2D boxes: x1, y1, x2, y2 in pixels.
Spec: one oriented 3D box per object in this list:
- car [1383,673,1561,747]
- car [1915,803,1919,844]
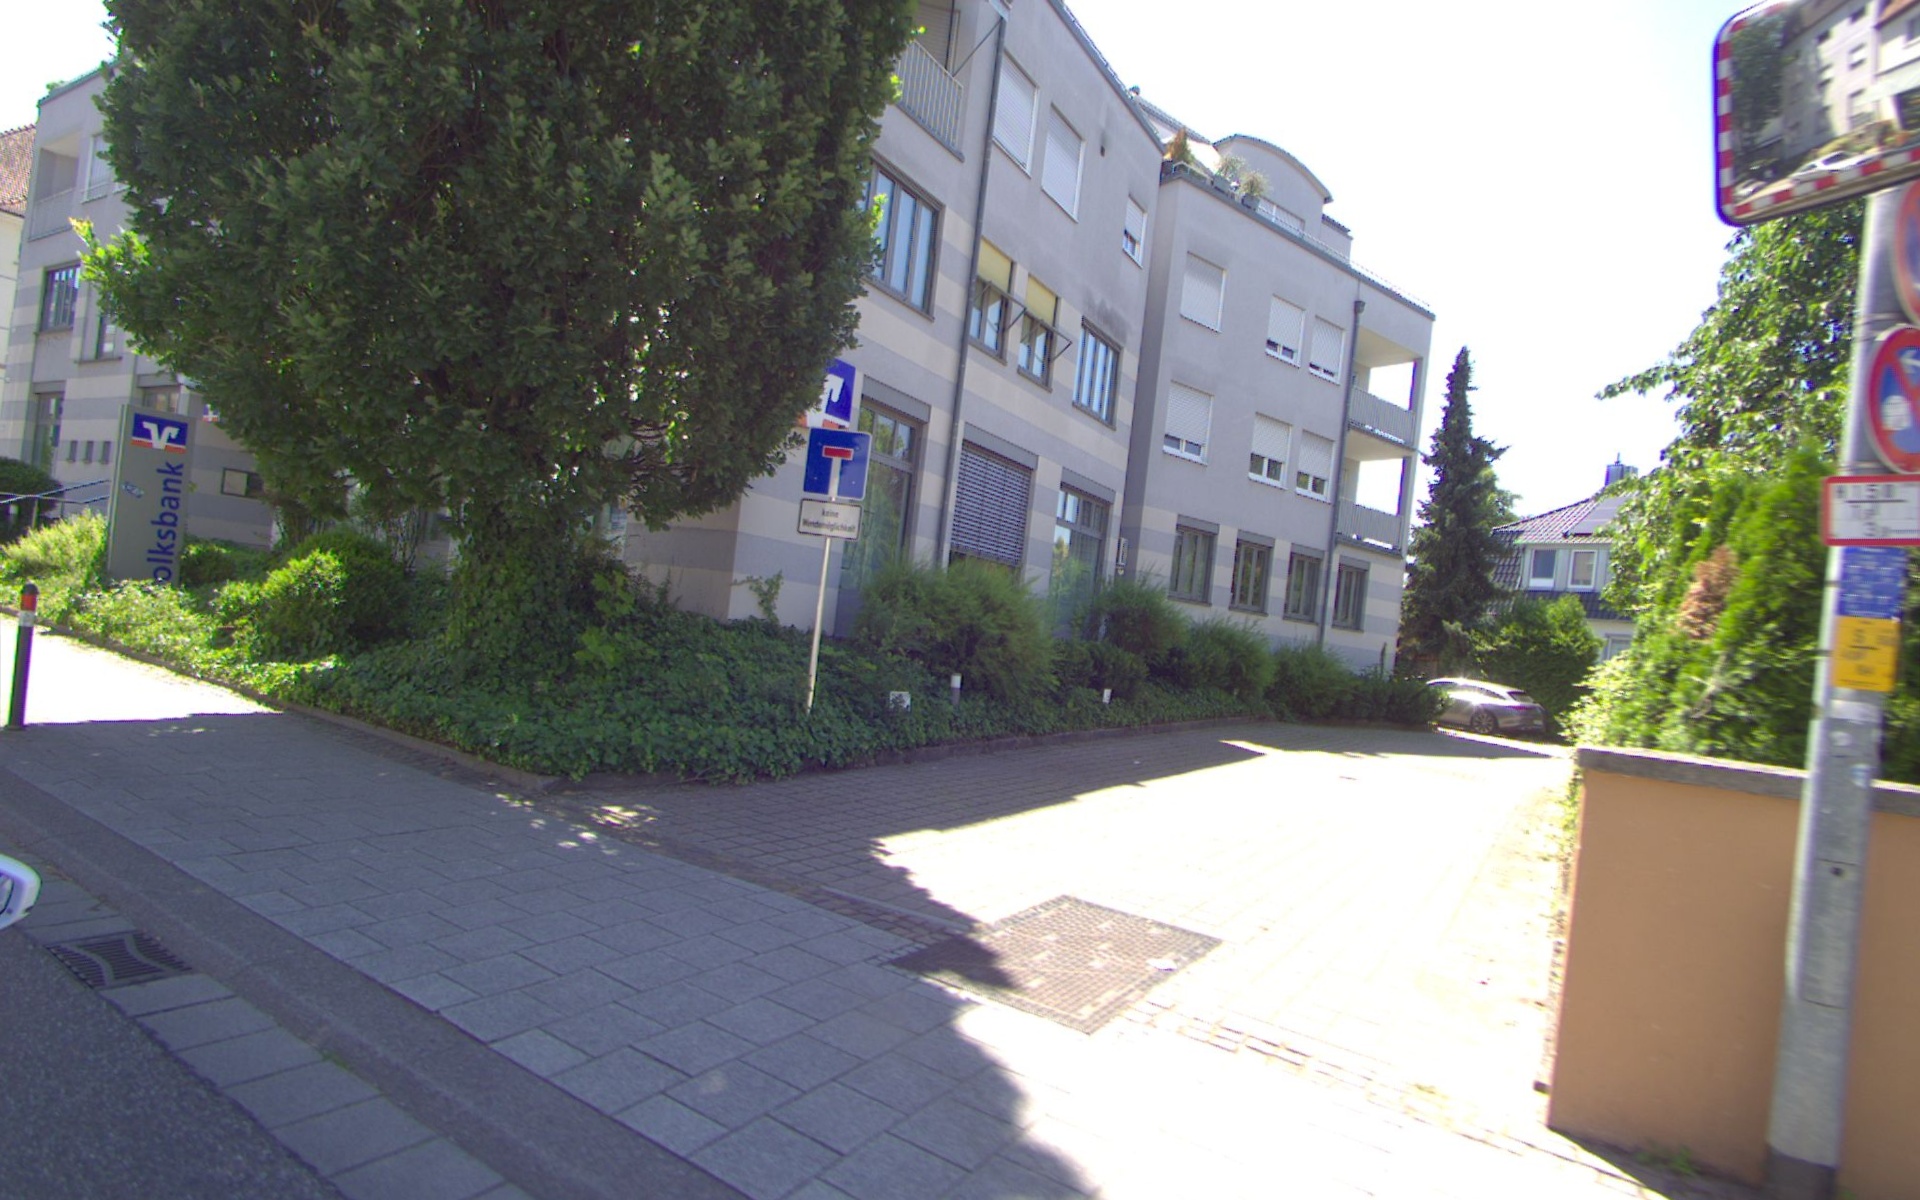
[{"bbox_3d":[14.378,3.065,28.420,1.898,1.446,3.959,10,-4,-38],"label":"car"},{"bbox_3d":[15.540,3.003,13.536,3.442,1.476,1.612,6,-1,27],"label":"car"}]
